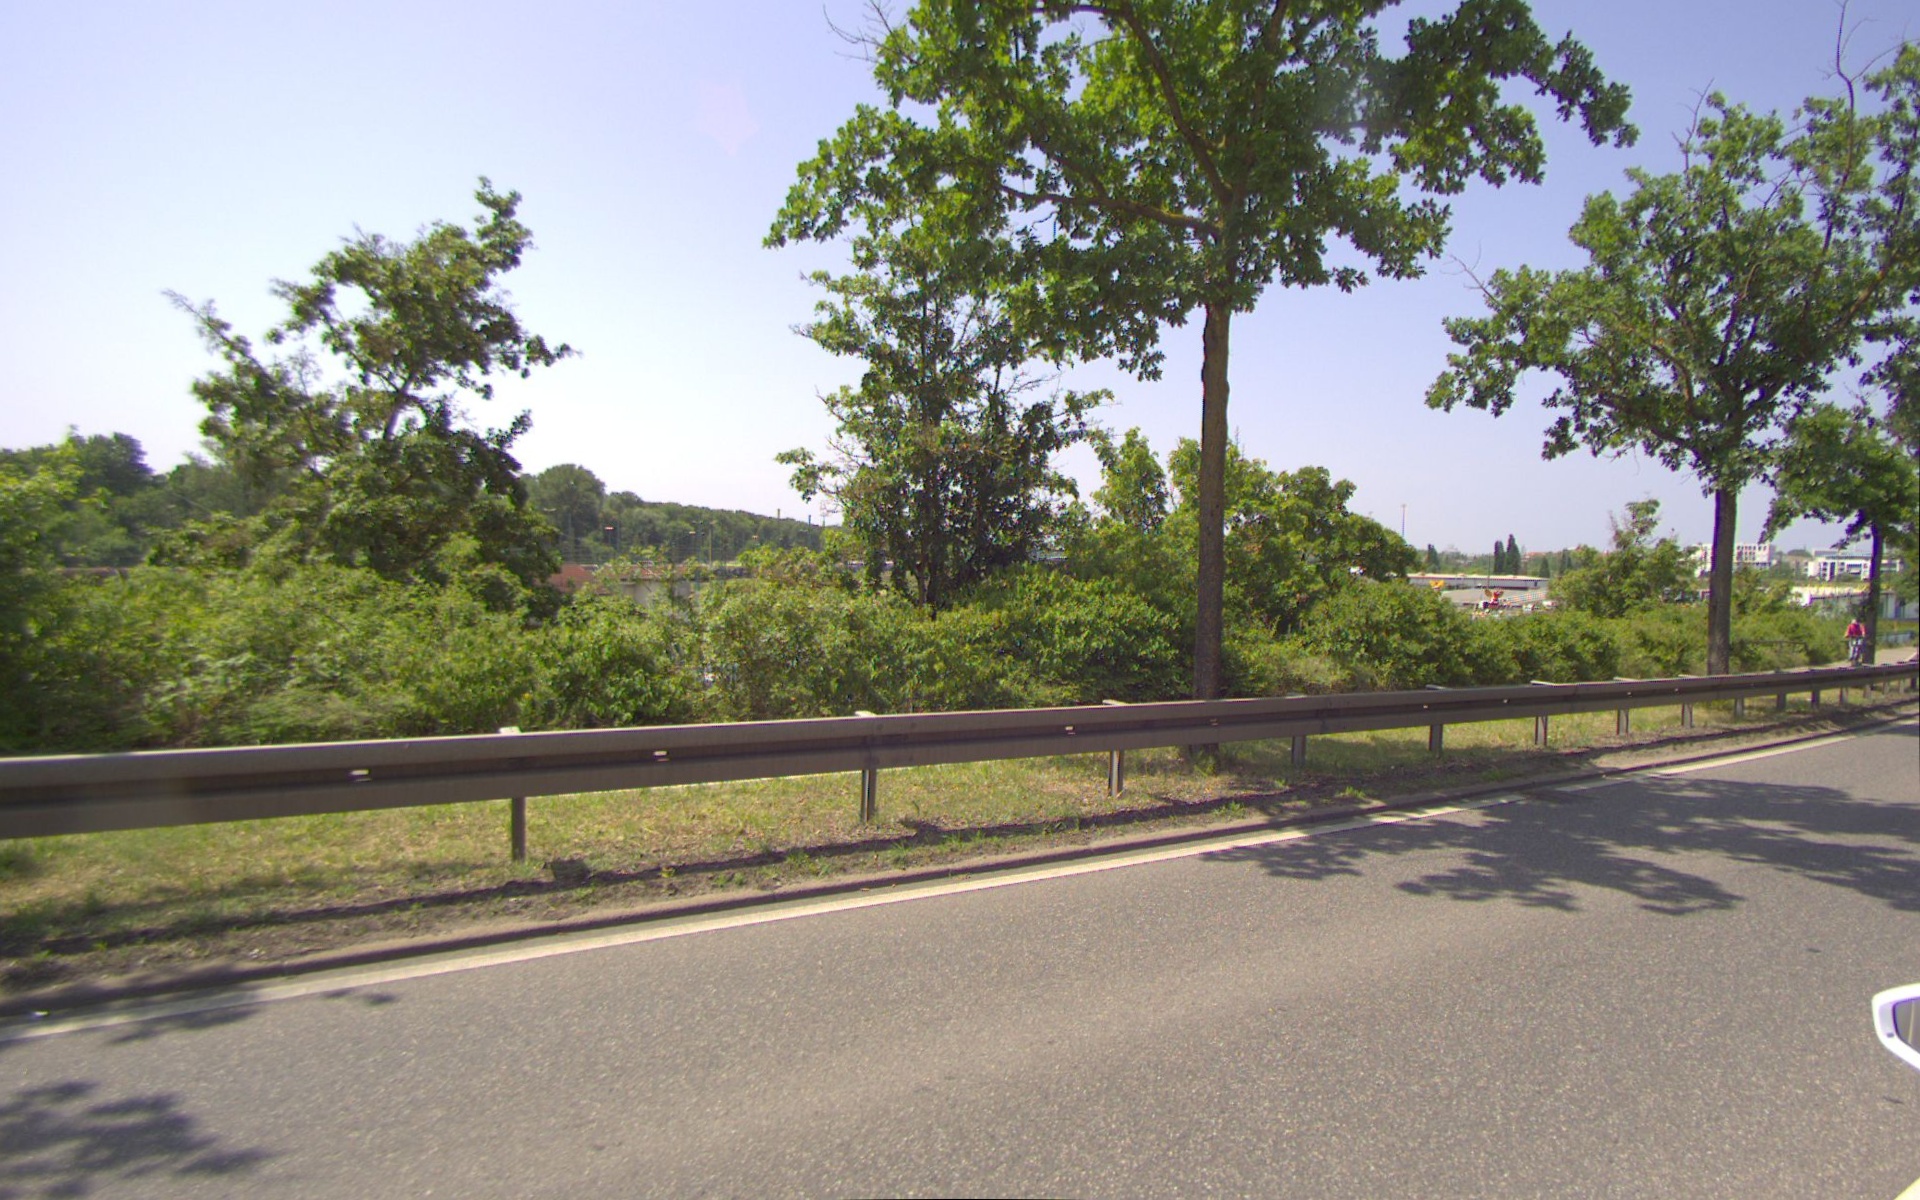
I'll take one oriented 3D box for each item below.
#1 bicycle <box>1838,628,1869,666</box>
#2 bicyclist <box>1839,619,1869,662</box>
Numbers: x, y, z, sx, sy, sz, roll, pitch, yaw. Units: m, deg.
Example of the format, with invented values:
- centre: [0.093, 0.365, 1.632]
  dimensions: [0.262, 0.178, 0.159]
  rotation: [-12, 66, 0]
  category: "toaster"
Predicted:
- centre: [32.062, 1.671, 36.039]
  dimensions: [0.726, 1.298, 2.034]
  rotation: [3, 1, 44]
  category: "bicycle"
- centre: [32.134, 1.456, 36.104]
  dimensions: [0.734, 1.509, 0.752]
  rotation: [3, 1, 44]
  category: "bicyclist"
